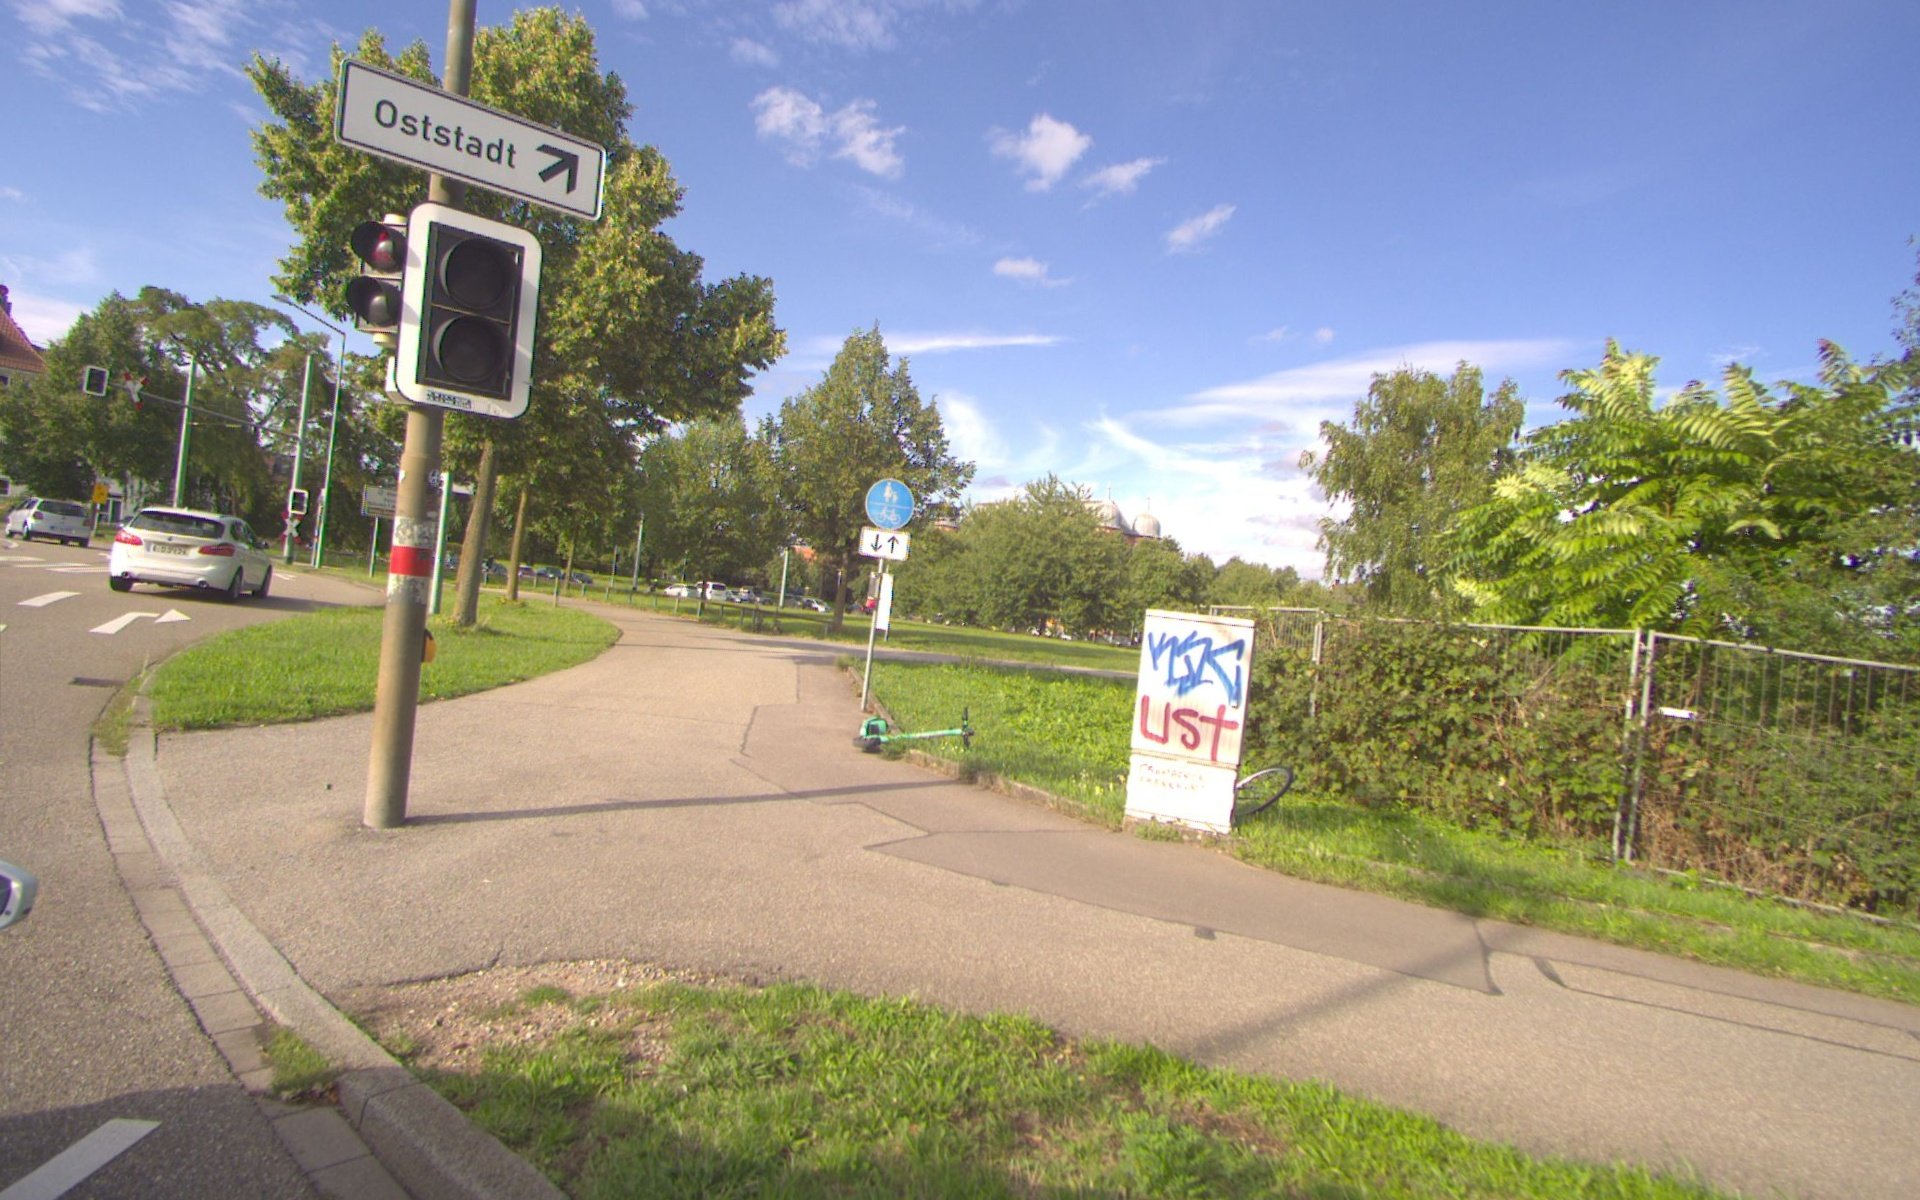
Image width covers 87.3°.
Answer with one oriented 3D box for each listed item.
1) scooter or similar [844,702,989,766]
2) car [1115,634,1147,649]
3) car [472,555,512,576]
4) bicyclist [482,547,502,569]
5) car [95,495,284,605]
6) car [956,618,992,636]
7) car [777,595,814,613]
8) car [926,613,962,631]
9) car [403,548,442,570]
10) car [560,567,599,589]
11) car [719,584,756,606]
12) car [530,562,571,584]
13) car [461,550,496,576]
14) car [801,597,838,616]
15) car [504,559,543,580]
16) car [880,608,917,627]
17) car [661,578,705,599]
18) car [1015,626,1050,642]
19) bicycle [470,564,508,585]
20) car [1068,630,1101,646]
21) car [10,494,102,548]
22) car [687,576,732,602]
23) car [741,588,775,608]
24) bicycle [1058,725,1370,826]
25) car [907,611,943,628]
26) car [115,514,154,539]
[{"bbox_3d":[-0.438,1.275,9.751,1.270,0.284,1.552,7,-1,-4],"label":"scooter or similar"},{"bbox_3d":[22.782,5.551,134.304,1.838,1.560,4.438,7,-1,-28],"label":"car"},{"bbox_3d":[-38.751,-2.838,83.168,1.846,1.374,4.783,7,-1,-38],"label":"car"},{"bbox_3d":[-32.959,-2.958,70.862,0.701,1.372,1.005,7,0,20],"label":"bicyclist"},{"bbox_3d":[-14.315,-0.877,18.983,1.834,1.590,4.427,8,-2,-26],"label":"car"},{"bbox_3d":[1.619,3.183,118.334,1.842,1.560,4.427,7,-1,-35],"label":"car"},{"bbox_3d":[-16.652,0.391,101.885,1.844,1.415,4.427,7,-1,-35],"label":"car"},{"bbox_3d":[-1.836,2.513,114.478,1.842,1.560,4.427,7,-1,-35],"label":"car"},{"bbox_3d":[-42.455,-3.242,79.418,1.846,1.376,4.684,7,-1,-38],"label":"car"},{"bbox_3d":[-33.200,-1.958,87.758,1.846,1.534,4.422,7,-1,-38],"label":"car"},{"bbox_3d":[-21.647,-0.512,97.673,2.080,1.694,4.434,7,-1,-30],"label":"car"},{"bbox_3d":[-35.009,-2.323,85.916,1.846,1.534,4.893,7,-1,-38],"label":"car"},{"bbox_3d":[-44.685,-3.436,93.253,1.862,2.036,4.765,9,-3,-36],"label":"car"},{"bbox_3d":[-14.436,0.646,103.446,1.844,1.523,4.427,7,-1,-35],"label":"car"},{"bbox_3d":[-36.737,-2.569,84.696,1.846,1.379,4.422,7,-1,-38],"label":"car"},{"bbox_3d":[-6.732,1.902,110.217,1.842,1.560,4.427,7,-1,-35],"label":"car"},{"bbox_3d":[-25.795,-1.087,93.576,4.411,1.534,1.851,6,-1,44],"label":"car"},{"bbox_3d":[8.987,4.244,124.673,1.785,1.493,4.423,7,-1,-38],"label":"car"},{"bbox_3d":[-33.082,-1.803,70.682,0.701,1.237,2.528,7,0,20],"label":"bicycle"},{"bbox_3d":[16.007,4.844,129.711,1.838,1.560,4.438,7,-1,-28],"label":"car"},{"bbox_3d":[-30.509,-2.674,33.898,4.395,1.443,1.848,5,-2,43],"label":"car"},{"bbox_3d":[-23.841,-1.053,95.569,2.296,2.032,5.065,7,-1,-35],"label":"car"},{"bbox_3d":[-19.886,-0.194,98.959,2.015,1.534,4.080,7,-1,-30],"label":"car"},{"bbox_3d":[2.030,1.417,8.205,2.216,0.350,1.088,10,-2,-14],"label":"bicycle"},{"bbox_3d":[-3.929,2.192,112.924,1.842,1.471,4.427,7,-1,-35],"label":"car"},{"bbox_3d":[-55.743,-4.960,67.957,1.846,1.398,4.468,7,-1,-38],"label":"car"}]
